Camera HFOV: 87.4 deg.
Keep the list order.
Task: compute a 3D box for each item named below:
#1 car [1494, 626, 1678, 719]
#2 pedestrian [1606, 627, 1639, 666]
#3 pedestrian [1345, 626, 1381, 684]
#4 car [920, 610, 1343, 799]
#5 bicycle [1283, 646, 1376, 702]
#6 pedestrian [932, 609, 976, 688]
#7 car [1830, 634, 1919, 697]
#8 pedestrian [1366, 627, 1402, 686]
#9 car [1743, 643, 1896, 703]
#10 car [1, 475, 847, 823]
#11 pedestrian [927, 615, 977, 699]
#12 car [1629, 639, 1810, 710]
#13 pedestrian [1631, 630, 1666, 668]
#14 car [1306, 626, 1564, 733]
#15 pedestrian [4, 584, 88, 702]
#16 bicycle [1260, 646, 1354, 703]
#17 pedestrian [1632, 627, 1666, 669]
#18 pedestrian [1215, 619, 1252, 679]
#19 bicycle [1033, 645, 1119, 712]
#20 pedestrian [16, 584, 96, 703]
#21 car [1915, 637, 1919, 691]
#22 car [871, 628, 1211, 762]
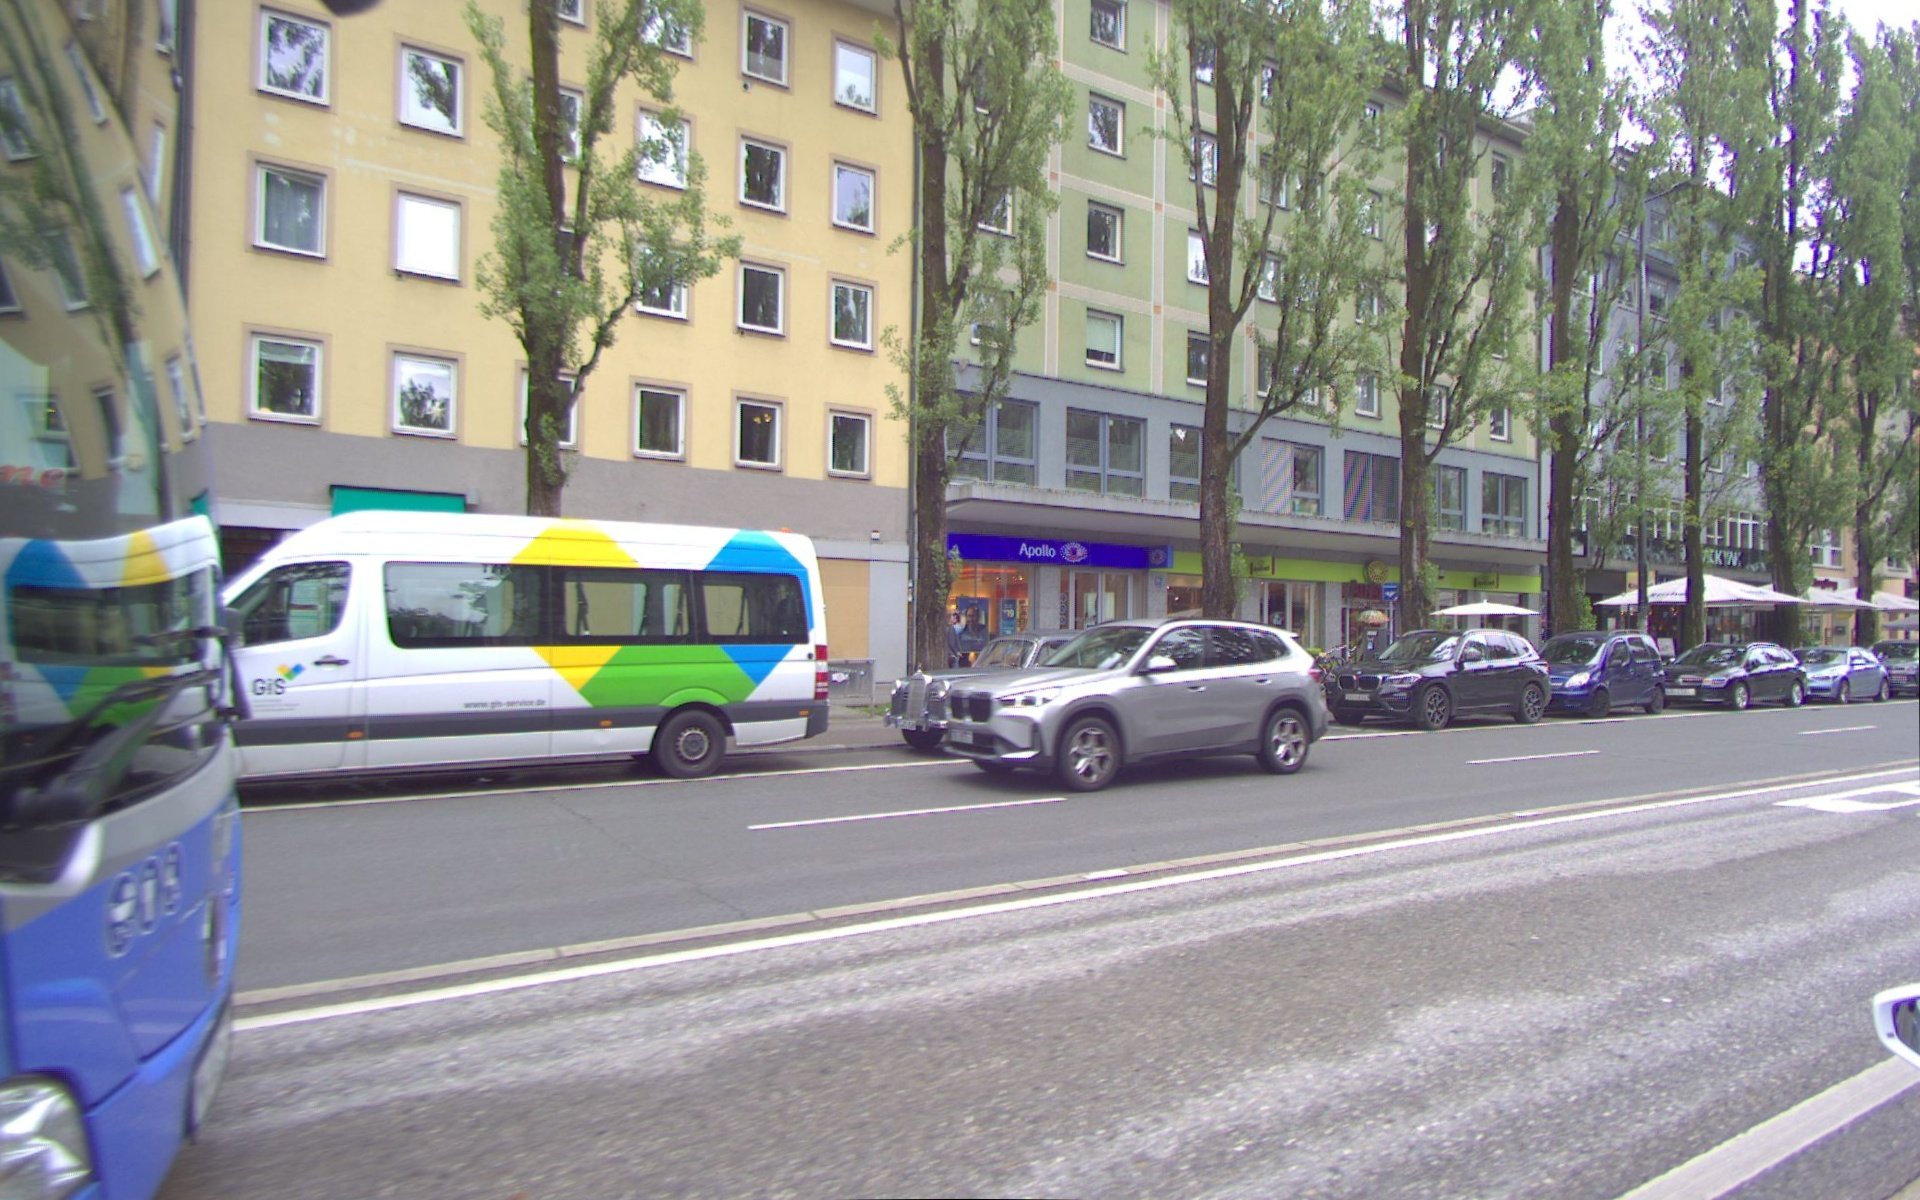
[{"bbox_3d":[12.865,1.447,20.598,3.880,1.743,1.700,2,-3,-33],"label":"car"},{"bbox_3d":[24.577,1.721,37.258,0.792,1.428,0.760,2,0,-35],"label":"pedestrian"},{"bbox_3d":[12.159,1.657,30.333,0.667,1.708,0.753,2,-3,-28],"label":"pedestrian"},{"bbox_3d":[1.917,0.996,10.745,4.405,1.656,1.762,2,-3,-31],"label":"car"},{"bbox_3d":[8.499,1.681,23.170,0.712,1.110,1.933,1,1,-36],"label":"bicycle"},{"bbox_3d":[-0.142,1.072,22.222,0.667,1.708,0.753,2,-3,-29],"label":"pedestrian"},{"bbox_3d":[26.977,1.842,28.716,4.349,1.687,1.858,2,-3,-30],"label":"car"},{"bbox_3d":[12.513,1.654,29.643,0.667,1.708,0.753,2,-3,-28],"label":"pedestrian"},{"bbox_3d":[22.139,1.836,25.851,4.095,1.444,1.725,2,-3,-30],"label":"car"},{"bbox_3d":[-4.673,0.484,10.117,6.831,2.601,1.996,2,-3,-30],"label":"car"},{"bbox_3d":[-0.175,1.177,20.972,0.775,1.708,0.753,2,-3,-28],"label":"pedestrian"},{"bbox_3d":[17.491,1.665,23.106,4.299,1.508,1.790,2,-3,-30],"label":"car"},{"bbox_3d":[26.815,1.919,39.126,0.755,1.428,0.797,2,0,-18],"label":"pedestrian"},{"bbox_3d":[8.432,1.343,17.745,4.557,1.686,1.858,2,-3,-30],"label":"car"},{"bbox_3d":[-13.699,0.641,15.079,0.717,1.722,0.695,1,-2,-25],"label":"pedestrian"},{"bbox_3d":[7.823,1.662,22.699,0.712,1.110,1.933,1,1,-36],"label":"bicycle"},{"bbox_3d":[24.757,1.718,36.085,0.792,1.428,0.760,2,0,-35],"label":"pedestrian"},{"bbox_3d":[7.833,1.401,28.779,0.749,1.708,0.670,2,-3,-29],"label":"pedestrian"},{"bbox_3d":[2.192,1.473,19.234,0.710,1.110,1.862,1,1,-27],"label":"bicycle"},{"bbox_3d":[-14.205,0.680,15.805,0.717,1.818,0.695,1,-2,-25],"label":"pedestrian"},{"bbox_3d":[32.199,2.015,31.739,4.072,1.687,1.858,2,-3,-30],"label":"car"},{"bbox_3d":[1.152,1.207,13.688,4.362,1.572,1.858,2,-3,-30],"label":"car"}]
